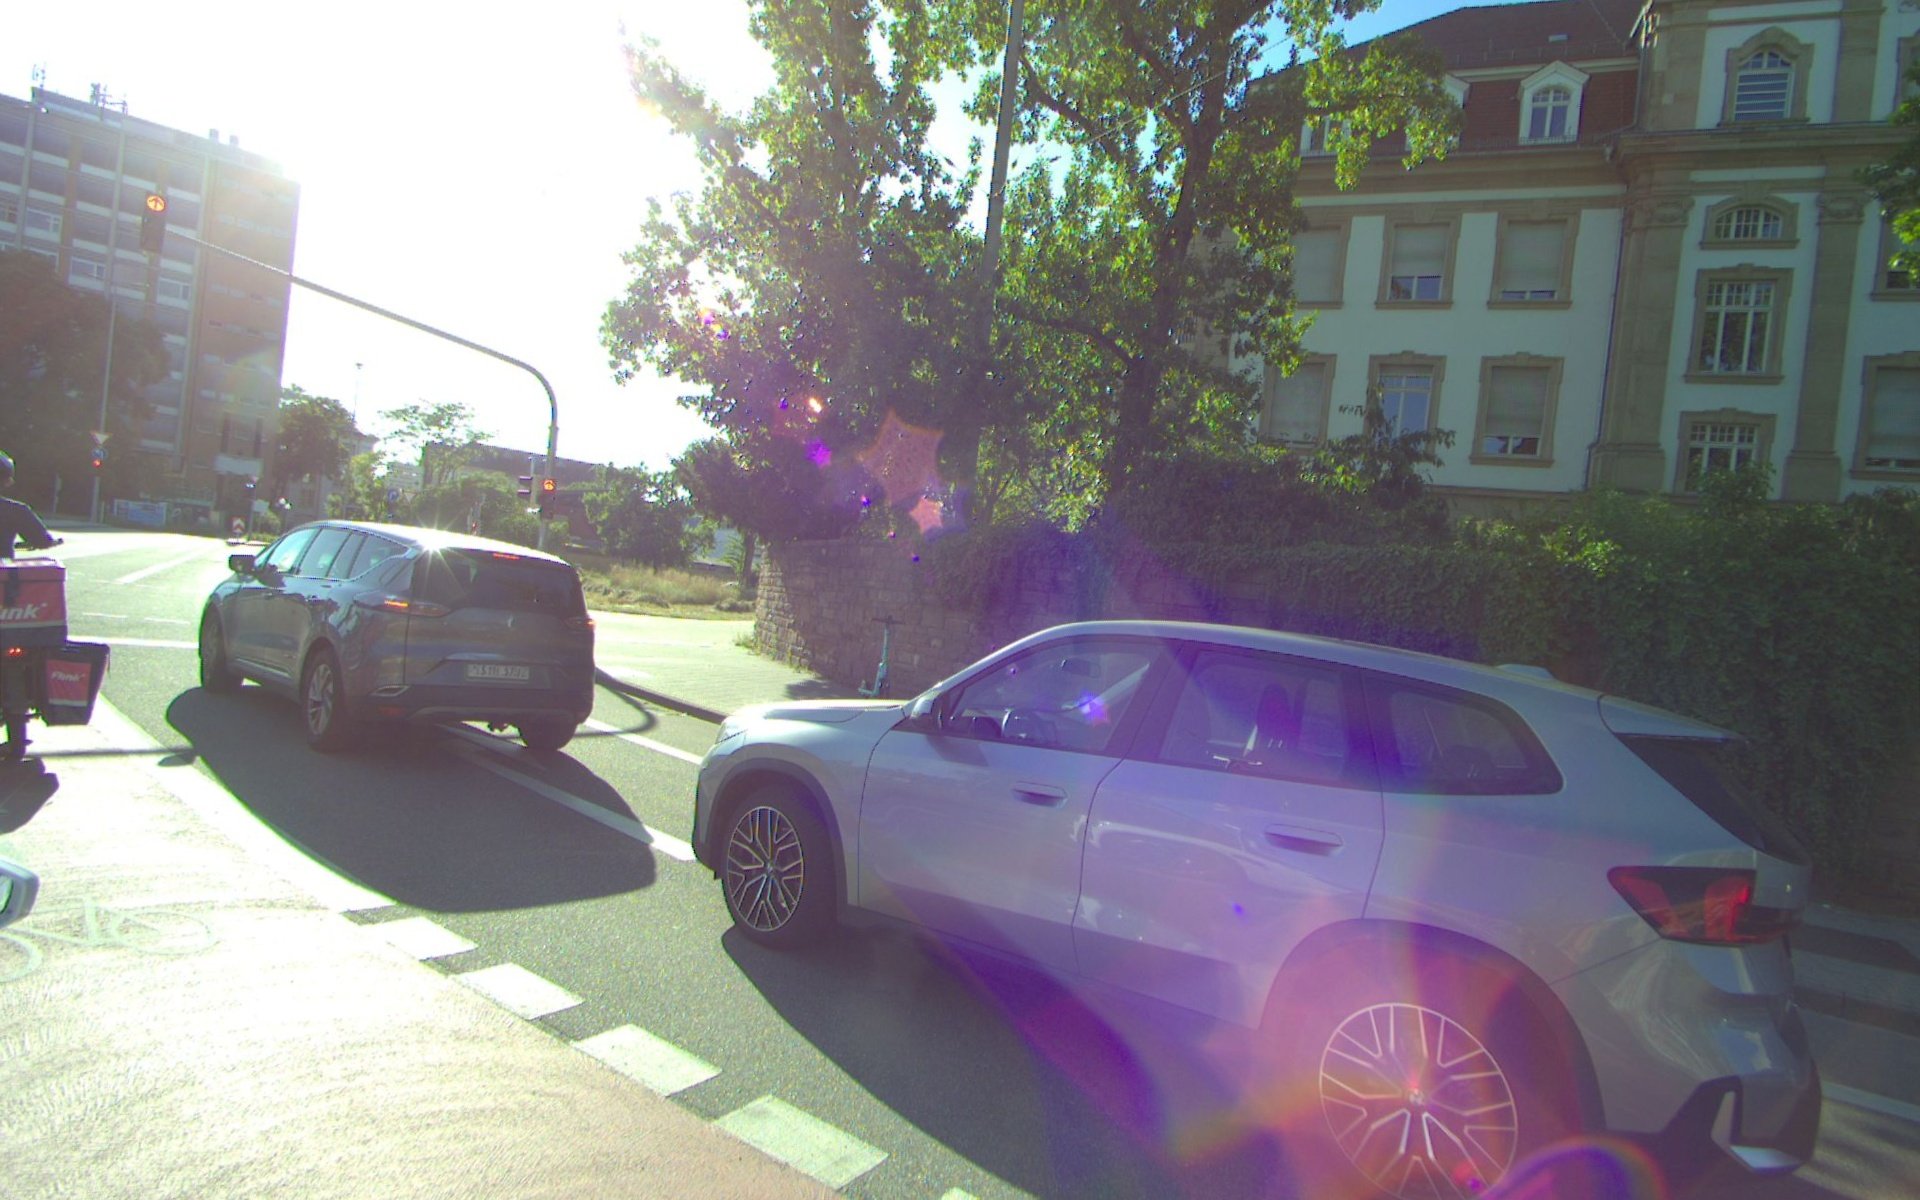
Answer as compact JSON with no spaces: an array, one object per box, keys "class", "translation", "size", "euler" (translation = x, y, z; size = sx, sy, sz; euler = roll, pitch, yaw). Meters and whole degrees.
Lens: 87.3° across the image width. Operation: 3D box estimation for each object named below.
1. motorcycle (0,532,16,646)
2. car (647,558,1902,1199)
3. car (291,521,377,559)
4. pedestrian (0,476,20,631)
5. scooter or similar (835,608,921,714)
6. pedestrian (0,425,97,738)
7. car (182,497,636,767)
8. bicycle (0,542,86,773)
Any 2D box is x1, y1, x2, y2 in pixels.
[{"class":"motorcycle","translation":[-8.937,-0.081,8.922],"size":[0.611,1.110,2.334],"euler":[8,-2,-41]},{"class":"car","translation":[0.824,0.884,4.243],"size":[4.263,1.612,1.788],"euler":[6,-2,37]},{"class":"car","translation":[-43.022,-4.128,69.171],"size":[4.669,1.969,1.894],"euler":[7,0,-40]},{"class":"pedestrian","translation":[-8.712,-0.300,8.748],"size":[0.585,1.617,1.013],"euler":[8,-1,-41]},{"class":"scooter or similar","translation":[-1.157,0.820,13.882],"size":[0.569,1.285,1.414],"euler":[6,0,-27]},{"class":"pedestrian","translation":[-6.218,-0.145,6.393],"size":[0.943,1.890,0.806],"euler":[6,-1,40]},{"class":"car","translation":[-4.839,0.164,8.555],"size":[4.307,1.709,1.830],"euler":[6,-2,40]},{"class":"bicycle","translation":[-5.992,0.257,6.179],"size":[2.340,1.185,0.553],"euler":[6,-2,42]}]
